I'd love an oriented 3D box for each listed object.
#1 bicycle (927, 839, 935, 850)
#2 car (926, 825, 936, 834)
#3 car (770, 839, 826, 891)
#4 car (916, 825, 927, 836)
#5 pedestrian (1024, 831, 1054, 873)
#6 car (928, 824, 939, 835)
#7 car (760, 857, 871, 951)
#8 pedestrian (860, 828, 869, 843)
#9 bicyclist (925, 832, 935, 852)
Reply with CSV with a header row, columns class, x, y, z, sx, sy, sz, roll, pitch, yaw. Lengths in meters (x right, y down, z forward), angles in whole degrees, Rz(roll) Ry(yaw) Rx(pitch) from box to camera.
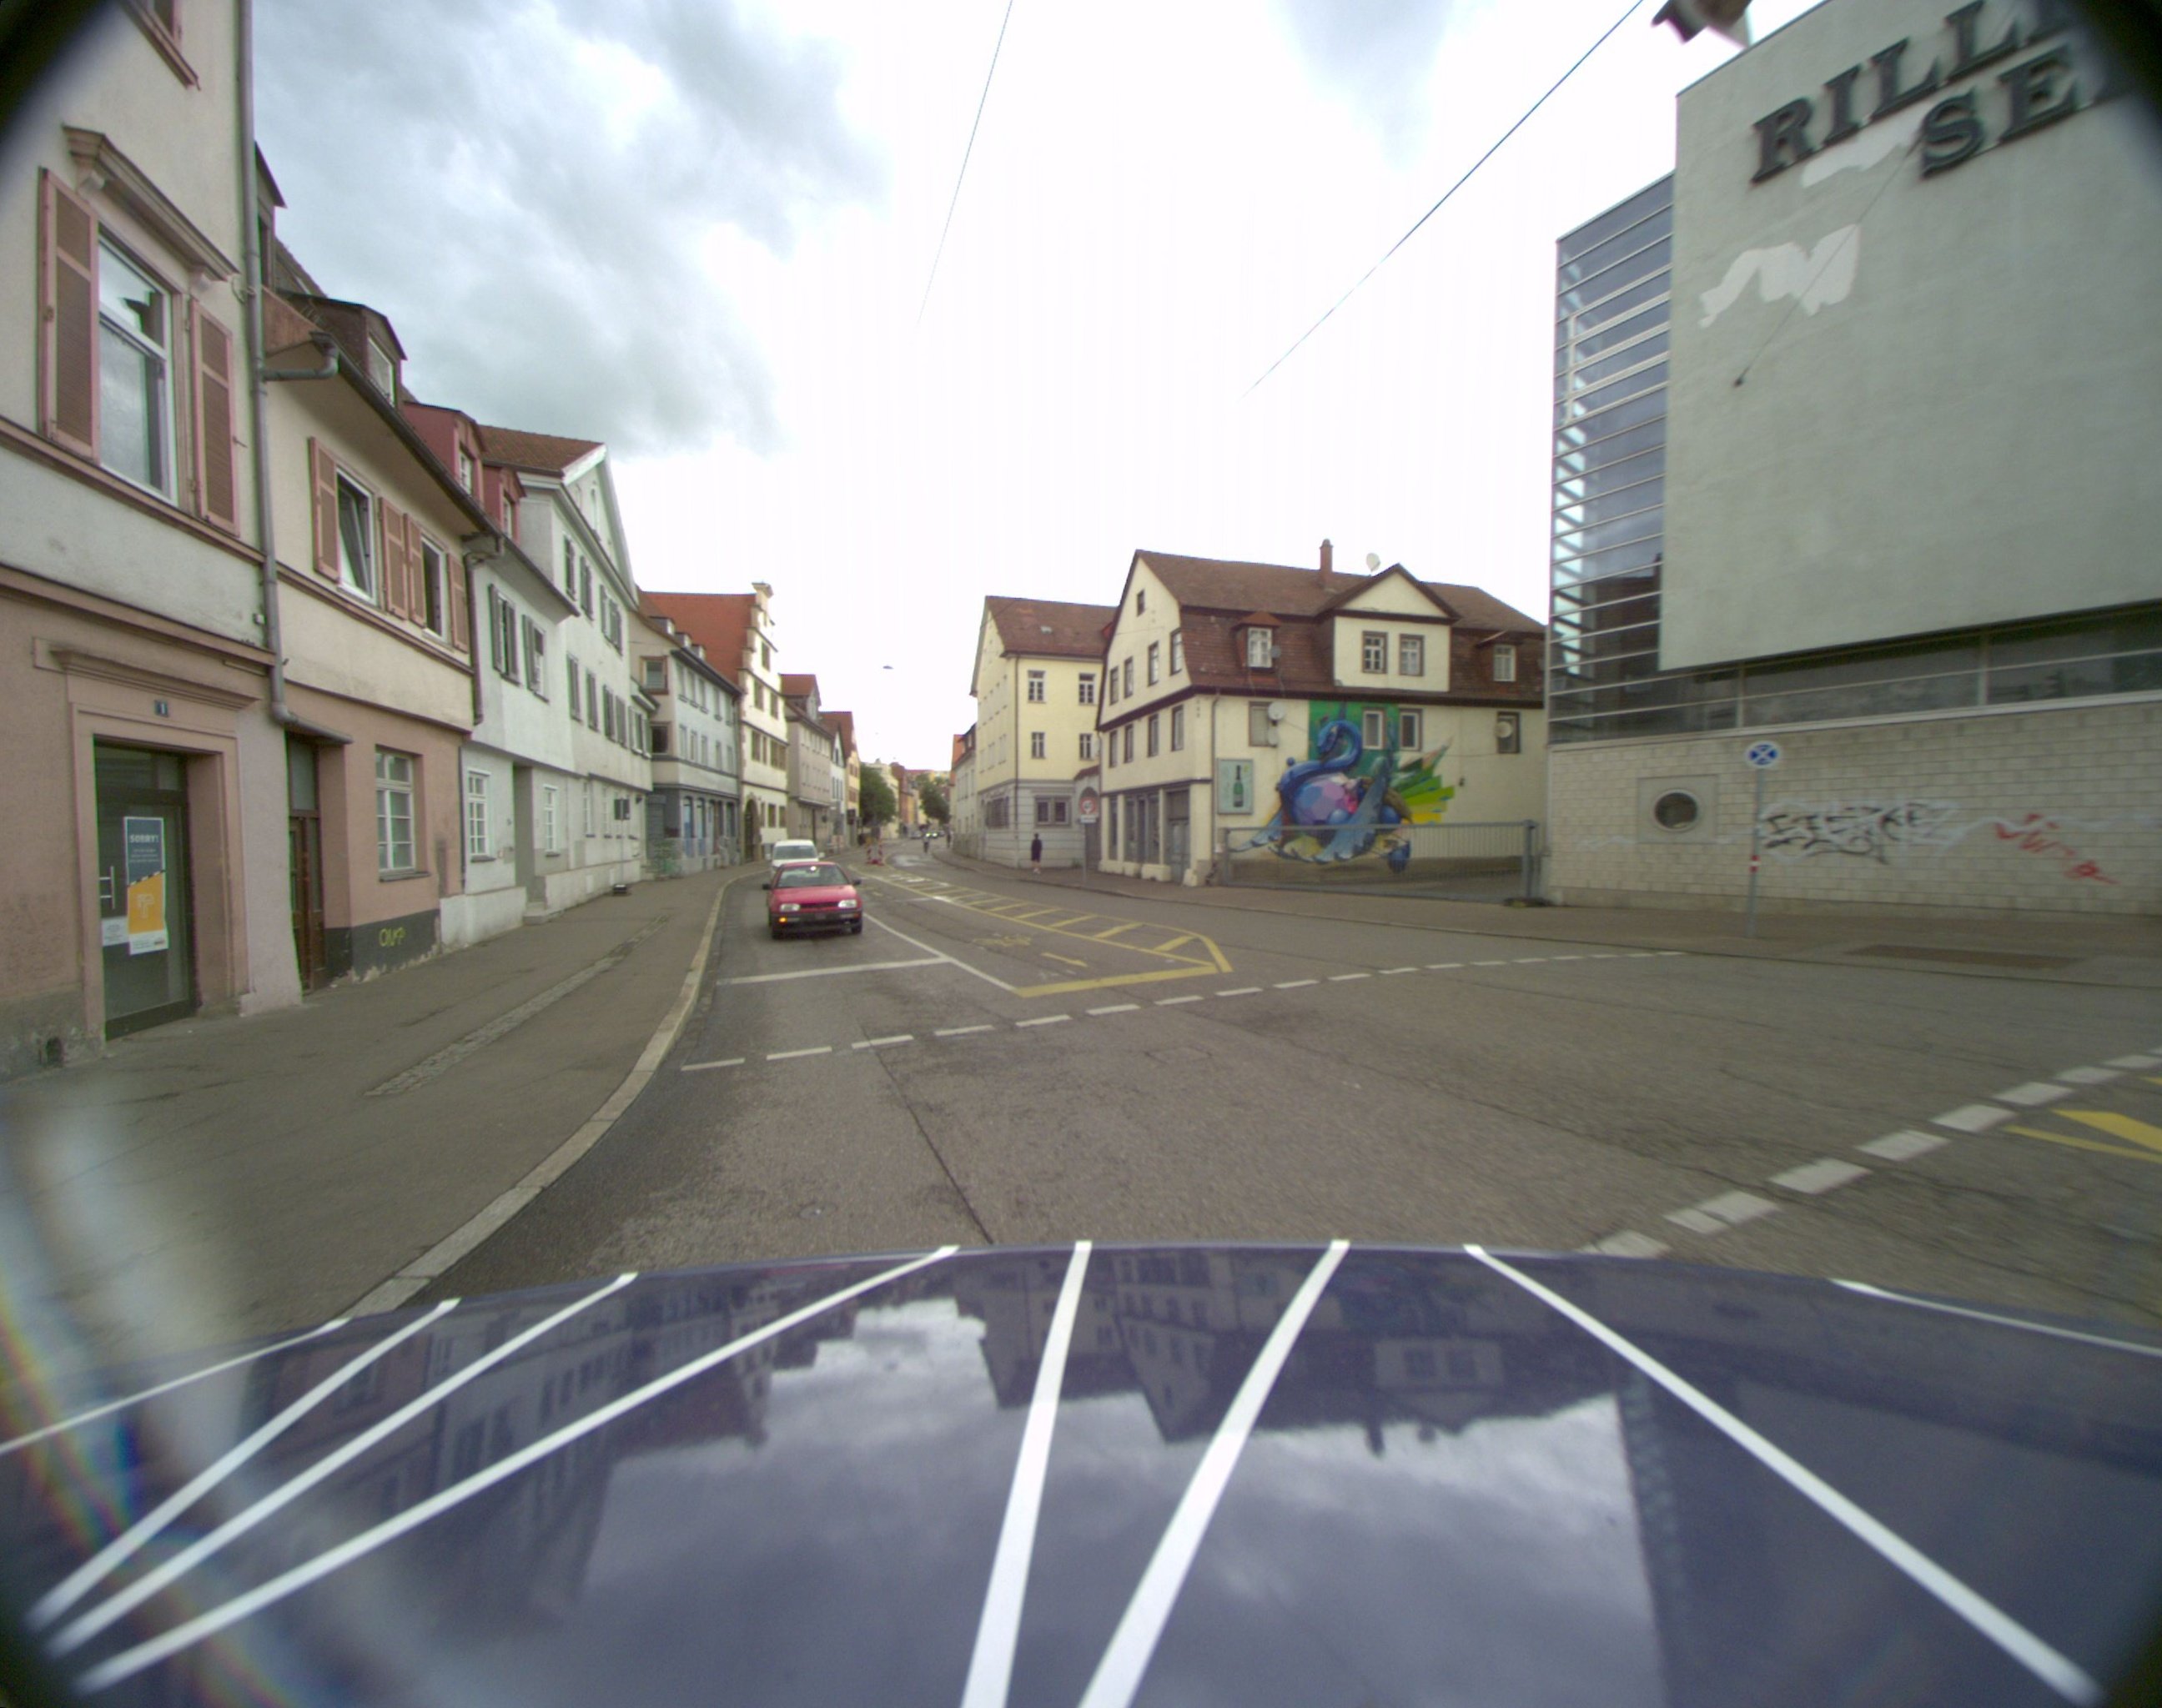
class,x,y,z,sx,sy,sz,roll,pitch,yaw
bicycle,-12.994,-0.845,65.693,0.543,0.887,1.878,-1,2,-8
car,-34.653,-5.680,175.558,2.000,2.002,3.995,-1,2,-10
car,-10.706,0.324,28.682,1.807,1.781,4.339,-1,2,-21
car,-32.255,-4.759,154.175,2.000,2.002,3.995,-1,2,-10
pedestrian,-1.939,-0.096,35.195,1.058,1.875,1.090,-3,1,-19
car,-28.891,-4.818,149.395,2.000,2.002,3.995,-1,2,-10
car,-5.511,0.896,15.621,1.807,1.458,3.992,-4,3,-21
pedestrian,-26.643,-2.256,93.304,0.880,1.888,0.895,-1,0,-27
bicyclist,-13.059,-1.031,65.804,0.725,1.691,0.810,-1,2,-7
